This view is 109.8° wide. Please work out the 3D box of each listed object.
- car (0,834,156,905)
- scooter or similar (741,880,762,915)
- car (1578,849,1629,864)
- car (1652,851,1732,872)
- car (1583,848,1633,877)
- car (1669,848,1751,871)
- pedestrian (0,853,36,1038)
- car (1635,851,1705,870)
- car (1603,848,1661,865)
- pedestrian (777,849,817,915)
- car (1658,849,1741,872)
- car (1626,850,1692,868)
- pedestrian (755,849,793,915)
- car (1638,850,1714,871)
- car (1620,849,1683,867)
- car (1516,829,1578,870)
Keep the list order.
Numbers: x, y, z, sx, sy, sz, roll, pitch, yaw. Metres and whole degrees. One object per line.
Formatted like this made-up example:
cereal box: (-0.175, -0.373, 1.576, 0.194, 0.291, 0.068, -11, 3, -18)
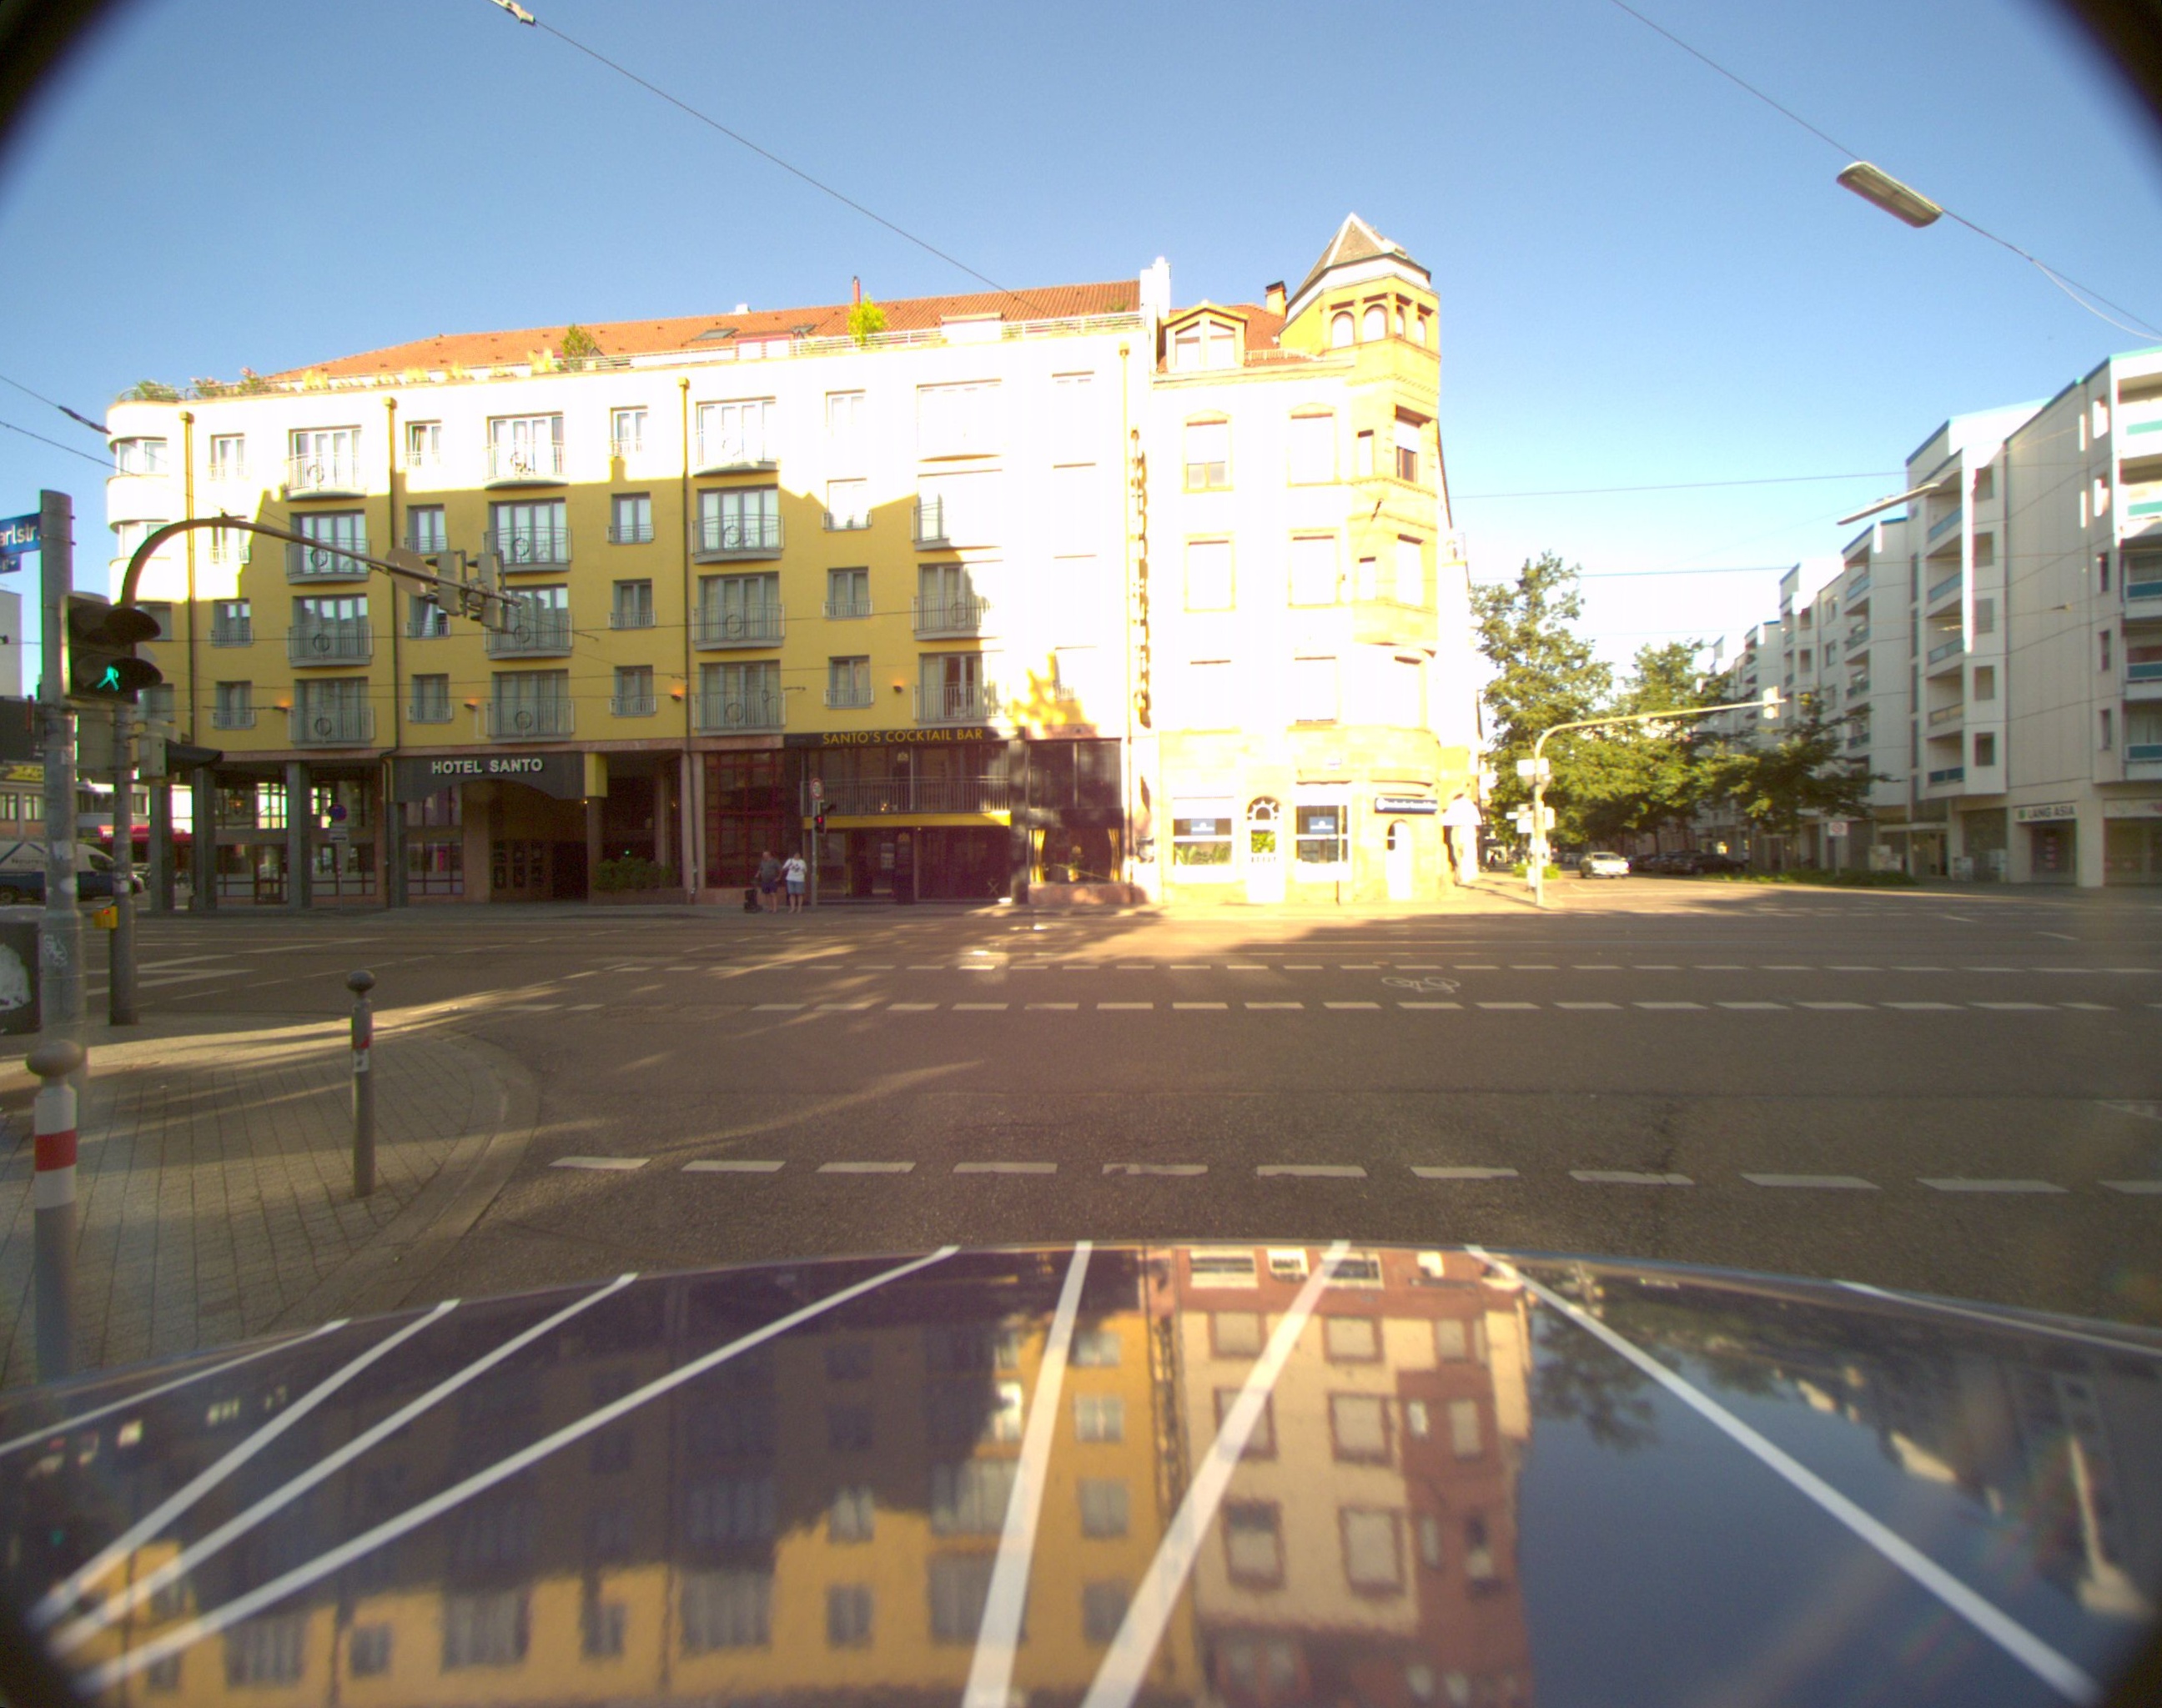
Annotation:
car: (-42.734, 0.606, 31.521, 2.056, 2.742, 5.152, -1, 0, 8)
scooter or similar: (-9.478, 1.246, 21.869, 0.357, 0.972, 0.423, -1, 4, 4)
car: (57.914, 0.243, 84.260, 4.294, 1.576, 2.003, -1, 0, 22)
car: (46.042, 0.556, 57.375, 4.295, 1.576, 2.003, -1, 0, 21)
car: (32.725, 0.497, 47.295, 1.995, 1.739, 4.007, -1, 0, 26)
car: (43.712, 0.378, 52.896, 3.991, 1.576, 2.003, -1, 0, 21)
pedestrian: (-10.292, 0.834, 6.516, 1.174, 1.670, 1.006, -1, 0, -19)
car: (50.182, 0.538, 64.837, 4.294, 1.576, 2.003, -1, 0, 22)
car: (54.108, 0.242, 74.687, 4.294, 1.576, 2.003, -1, 0, 22)
pedestrian: (-8.130, 0.786, 21.769, 0.734, 1.831, 0.727, -1, 4, 6)
car: (44.769, 0.462, 55.110, 4.295, 1.576, 2.003, -1, 0, 21)
car: (51.549, 0.444, 67.831, 4.294, 1.576, 2.003, -1, 0, 22)
pedestrian: (-8.913, 0.800, 22.088, 0.678, 1.831, 0.727, -1, 4, 6)
car: (46.684, 0.492, 59.735, 4.295, 1.576, 2.003, -1, 0, 21)
car: (52.498, 0.376, 70.053, 4.294, 1.576, 2.003, -1, 0, 22)
car: (38.876, -0.347, 63.711, 3.318, 3.160, 8.096, -1, 0, 24)
